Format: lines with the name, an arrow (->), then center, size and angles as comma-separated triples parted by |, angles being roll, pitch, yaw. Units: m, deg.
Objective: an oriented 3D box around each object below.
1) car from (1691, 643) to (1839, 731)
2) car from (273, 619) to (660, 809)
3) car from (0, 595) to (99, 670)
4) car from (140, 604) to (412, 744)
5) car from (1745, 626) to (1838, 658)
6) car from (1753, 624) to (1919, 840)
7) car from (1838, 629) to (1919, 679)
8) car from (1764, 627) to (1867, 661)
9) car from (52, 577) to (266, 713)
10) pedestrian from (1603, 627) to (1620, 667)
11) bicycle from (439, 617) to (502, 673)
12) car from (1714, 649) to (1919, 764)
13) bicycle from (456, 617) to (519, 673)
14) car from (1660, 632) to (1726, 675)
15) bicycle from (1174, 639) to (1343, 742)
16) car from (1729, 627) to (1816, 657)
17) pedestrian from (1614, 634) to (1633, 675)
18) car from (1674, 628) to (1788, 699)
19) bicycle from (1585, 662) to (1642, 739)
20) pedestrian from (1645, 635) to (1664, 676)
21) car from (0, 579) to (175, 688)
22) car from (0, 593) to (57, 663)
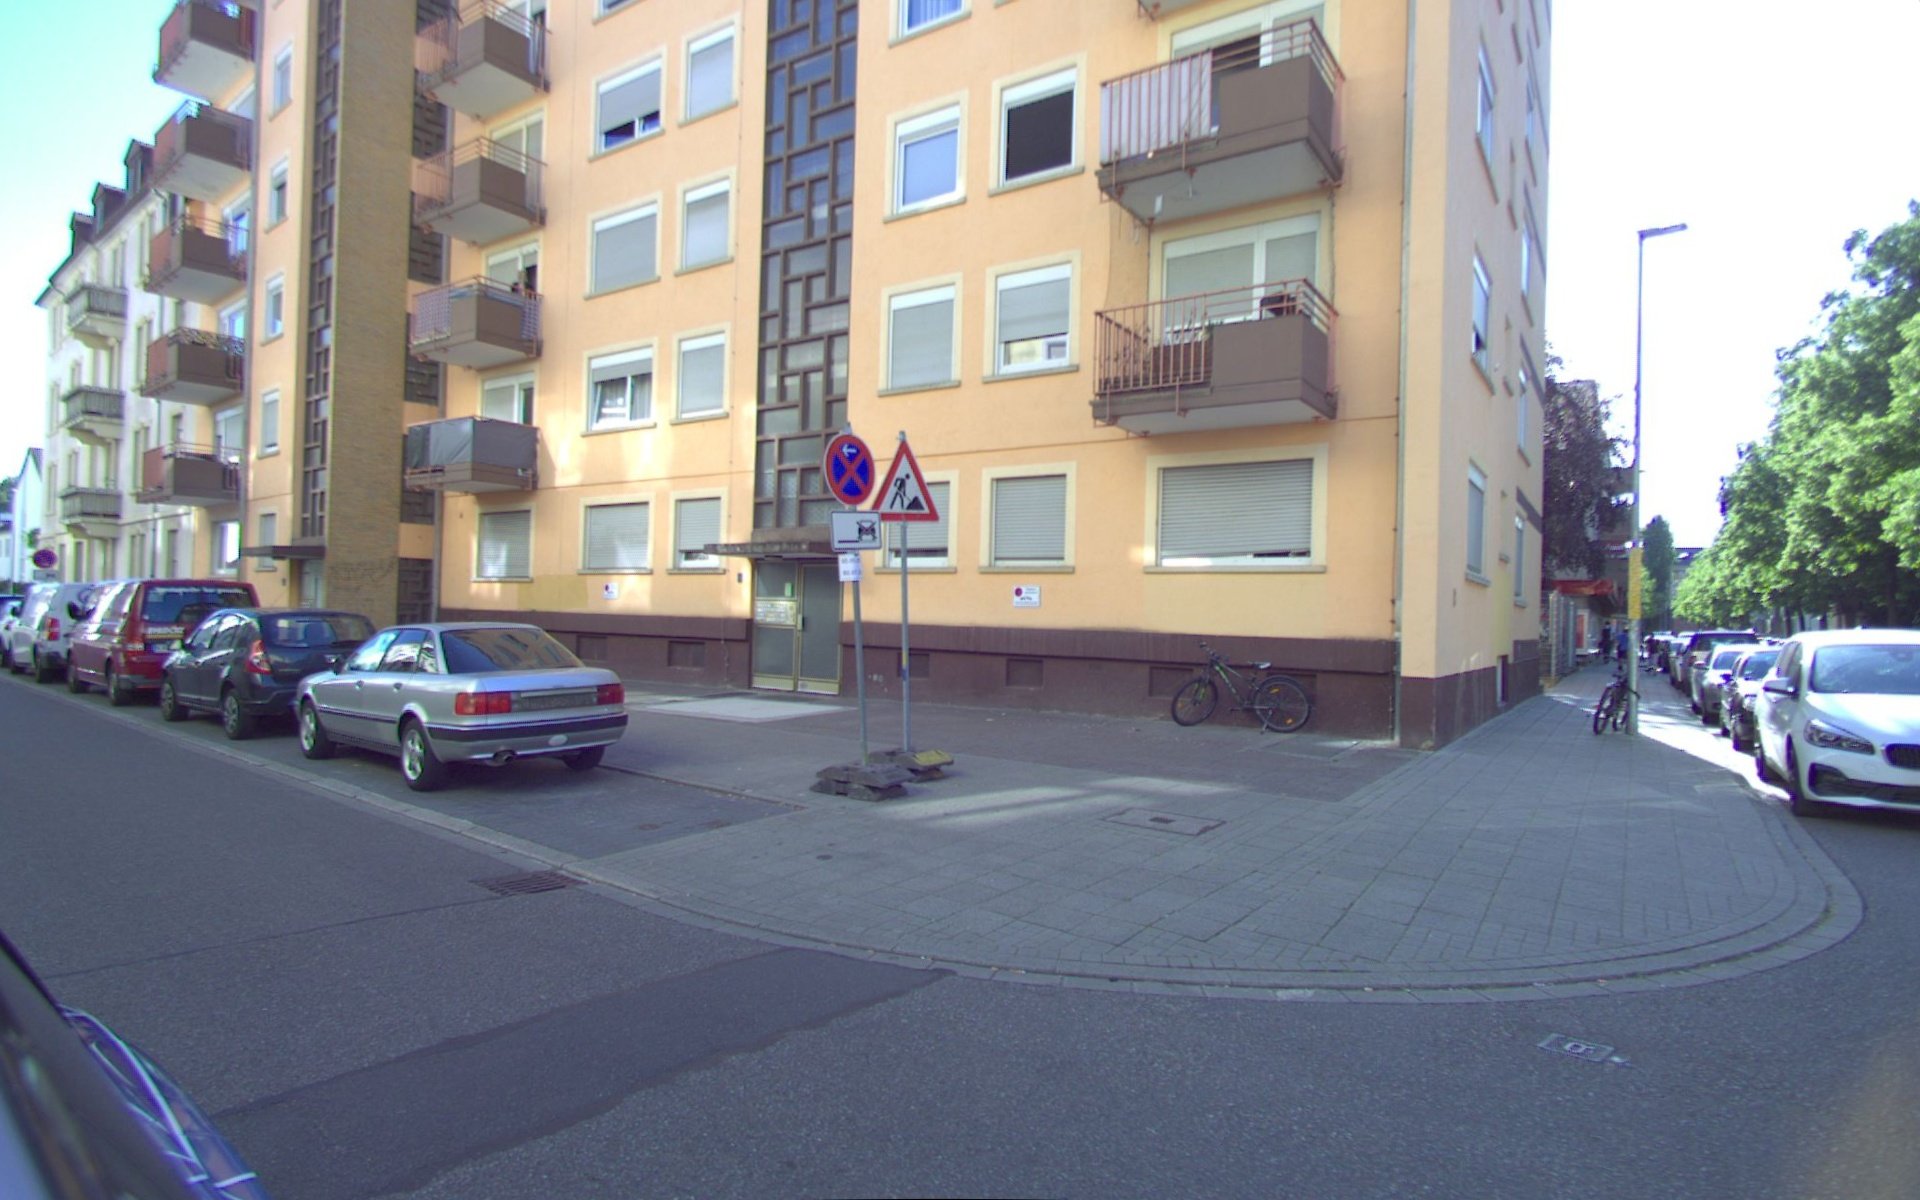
car -> 15.053, 1.549, 19.122 | 1.722, 1.415, 4.165 | 0, -2, 32
car -> -4.964, 0.919, 9.871 | 4.475, 1.388, 1.744 | 0, -1, 40
car -> -22.064, 0.722, 24.022 | 4.291, 1.633, 1.745 | 0, -1, 40
car -> -8.867, 0.853, 13.018 | 3.995, 1.514, 1.745 | 0, -2, 39
car -> 45.849, 2.285, 55.905 | 3.586, 1.680, 1.691 | 0, -1, 23
car -> 8.636, 1.055, 9.246 | 1.722, 1.605, 4.399 | 0, -2, 32
car -> 33.138, 1.878, 35.167 | 3.586, 1.680, 1.691 | 0, -1, 23
car -> 43.061, 2.193, 51.027 | 3.586, 1.680, 1.691 | 0, -1, 23
car -> -13.237, 0.647, 16.603 | 4.930, 1.940, 1.745 | 0, -1, 40
pedestrian -> 31.219, 2.241, 48.492 | 0.660, 1.918, 0.520 | 0, -2, 35
bicycle -> -10.287, 0.935, 21.258 | 1.759, 1.122, 0.338 | 0, -2, 34
car -> 12.151, 1.407, 14.587 | 1.722, 1.320, 4.165 | 0, -2, 32
bicycle -> -10.084, 0.942, 21.584 | 1.759, 1.122, 0.338 | 0, -2, 34
car -> 32.809, 2.370, 45.400 | 2.102, 1.780, 4.460 | 0, -2, 32
bicycle -> 3.529, 1.042, 12.061 | 1.889, 1.072, 0.499 | 0, 1, 36
car -> 47.353, 2.411, 59.074 | 3.586, 1.680, 1.691 | 0, -1, 23
pedestrian -> 27.424, 2.250, 41.828 | 0.660, 1.653, 0.520 | 0, -2, 35
car -> 21.196, 1.690, 28.009 | 2.102, 1.780, 4.460 | 0, -2, 32
bicycle -> 9.184, 1.382, 14.196 | 0.399, 0.973, 1.672 | 4, 0, 41
pedestrian -> 28.227, 2.256, 41.139 | 0.660, 1.653, 0.520 | 0, -2, 35
car -> -17.788, 0.605, 20.417 | 5.304, 1.940, 1.956 | 0, -1, 40
car -> -25.772, 0.705, 27.073 | 4.290, 1.784, 1.745 | 0, -1, 40
